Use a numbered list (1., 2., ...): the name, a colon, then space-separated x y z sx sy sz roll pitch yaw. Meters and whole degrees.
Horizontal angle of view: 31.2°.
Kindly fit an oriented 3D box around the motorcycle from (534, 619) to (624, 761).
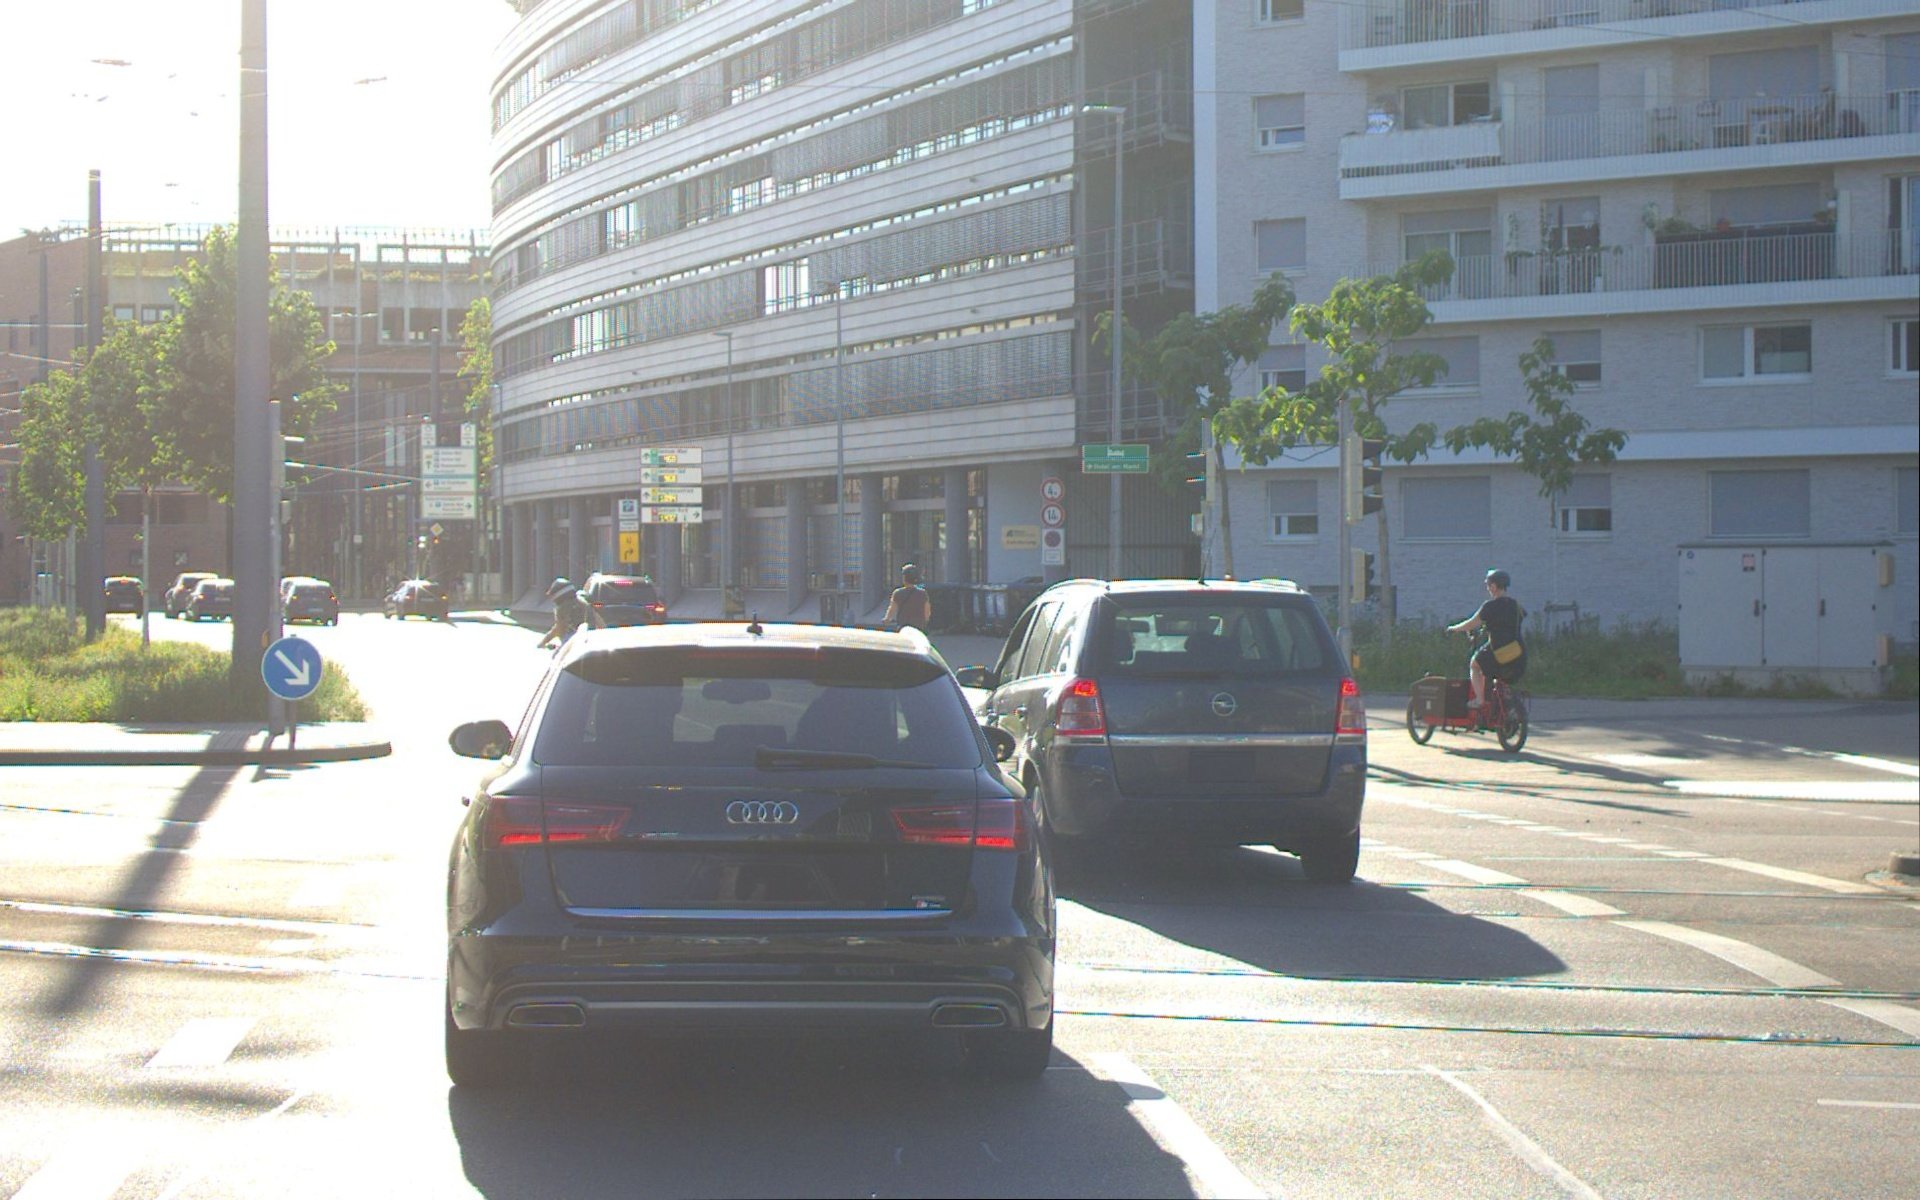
1. motorcycle: -3.868 0.892 34.982 0.862 1.388 1.894 0 0 -5

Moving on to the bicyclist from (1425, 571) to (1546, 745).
1. bicyclist: 5.226 0.564 34.188 0.929 1.700 0.767 0 0 40

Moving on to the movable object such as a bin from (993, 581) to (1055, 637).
1. movable object such as a bin: 1.546 0.216 83.364 1.059 1.327 1.125 -1 0 -28

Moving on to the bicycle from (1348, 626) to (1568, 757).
1. bicycle: 4.970 0.894 34.394 2.080 1.258 0.767 0 0 40

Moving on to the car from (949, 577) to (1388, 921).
1. car: 1.053 0.743 19.505 1.745 1.690 4.261 2 0 -6

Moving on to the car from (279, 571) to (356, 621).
1. car: -21.614 -0.121 115.550 1.993 1.590 4.001 -1 0 -18

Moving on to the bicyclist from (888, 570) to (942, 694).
1. bicyclist: -0.604 0.423 46.060 0.654 1.637 0.972 0 1 3

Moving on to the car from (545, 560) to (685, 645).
1. car: -7.509 0.042 74.483 2.002 1.709 4.373 1 1 -19

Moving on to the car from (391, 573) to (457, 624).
1. car: -19.954 -0.037 127.954 1.993 1.831 4.001 -1 0 -15

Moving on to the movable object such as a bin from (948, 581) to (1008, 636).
1. movable object such as a bin: 0.453 0.216 85.471 1.059 1.327 1.125 -1 0 -28

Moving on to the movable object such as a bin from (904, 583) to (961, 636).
1. movable object such as a bin: -0.703 0.238 87.600 1.059 1.327 1.125 -1 0 -28

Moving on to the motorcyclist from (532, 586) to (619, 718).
1. motorcyclist: -3.906 0.522 34.957 0.862 1.322 0.681 0 0 -5

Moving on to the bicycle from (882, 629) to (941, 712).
1. bicycle: -0.642 0.934 46.066 0.654 1.039 1.929 0 1 3

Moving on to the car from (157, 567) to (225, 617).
1. car: -27.675 -0.276 123.652 1.993 1.700 4.001 -1 0 -18

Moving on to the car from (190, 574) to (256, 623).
1. car: -25.309 -0.038 117.953 1.993 1.590 4.001 -1 0 -15

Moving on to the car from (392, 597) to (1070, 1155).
1. car: -0.649 0.764 11.521 1.842 1.449 4.000 1 1 0

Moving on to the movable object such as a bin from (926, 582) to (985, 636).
1. movable object such as a bin: -0.119 0.233 86.503 1.059 1.327 1.125 -1 0 -28

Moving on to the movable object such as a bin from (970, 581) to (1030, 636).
1. movable object such as a bin: 0.984 0.221 84.448 1.059 1.327 1.125 -1 0 -28

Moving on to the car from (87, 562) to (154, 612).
1. car: -30.079 -0.459 123.122 1.993 1.700 4.001 -1 0 -18
